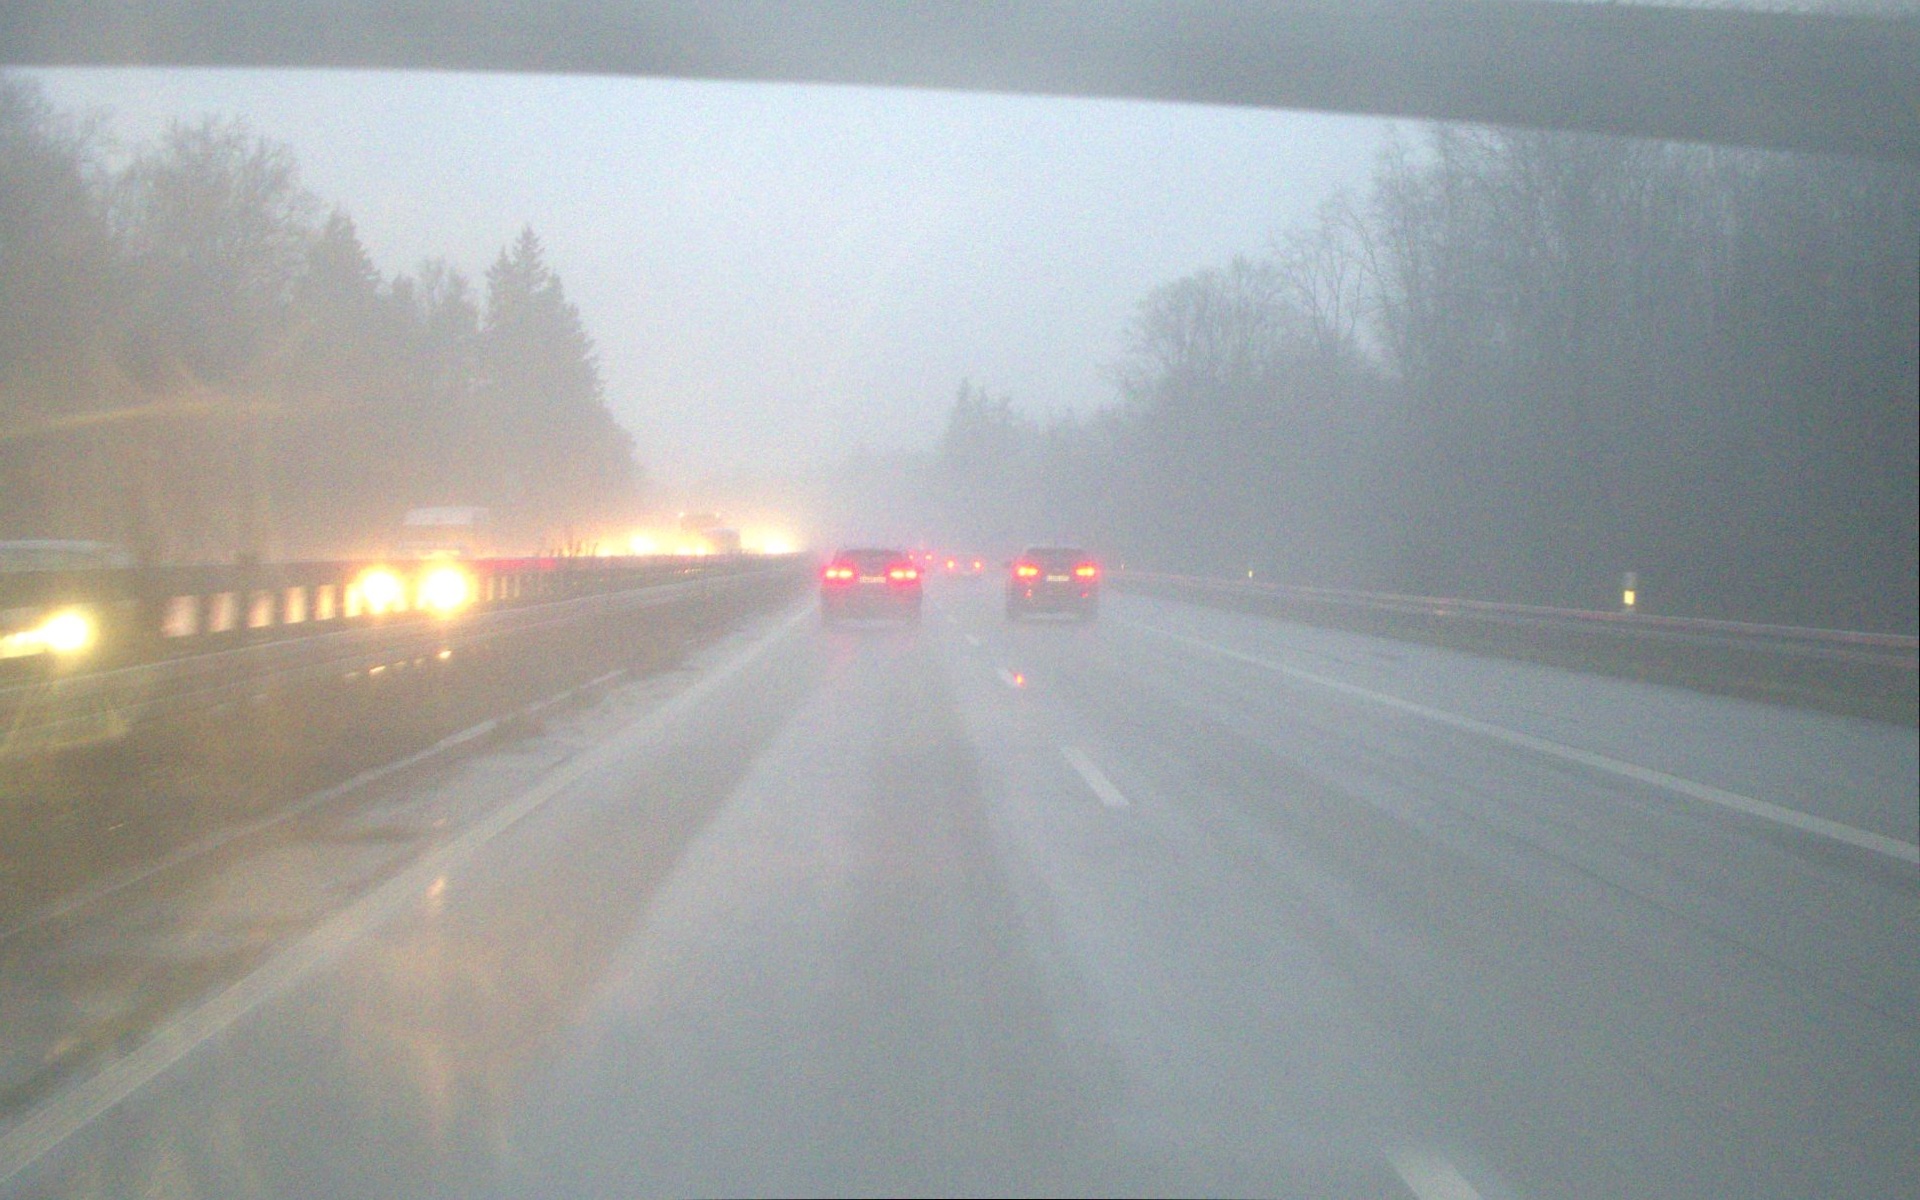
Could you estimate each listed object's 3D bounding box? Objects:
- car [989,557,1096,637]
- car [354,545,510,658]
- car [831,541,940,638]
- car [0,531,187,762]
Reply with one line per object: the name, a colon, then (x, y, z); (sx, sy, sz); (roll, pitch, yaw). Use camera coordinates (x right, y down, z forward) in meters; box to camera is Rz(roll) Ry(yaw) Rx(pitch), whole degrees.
car: (1.771, -0.087, 75.233); (2.070, 1.692, 4.461); (1, 1, -2)
car: (-8.853, -0.006, 58.031); (1.904, 1.762, 5.261); (2, 1, -1)
car: (-1.438, -0.216, 65.599); (1.986, 1.761, 4.173); (1, 1, -2)
car: (-7.822, 0.313, 28.750); (1.734, 1.762, 4.617); (2, 1, -1)
